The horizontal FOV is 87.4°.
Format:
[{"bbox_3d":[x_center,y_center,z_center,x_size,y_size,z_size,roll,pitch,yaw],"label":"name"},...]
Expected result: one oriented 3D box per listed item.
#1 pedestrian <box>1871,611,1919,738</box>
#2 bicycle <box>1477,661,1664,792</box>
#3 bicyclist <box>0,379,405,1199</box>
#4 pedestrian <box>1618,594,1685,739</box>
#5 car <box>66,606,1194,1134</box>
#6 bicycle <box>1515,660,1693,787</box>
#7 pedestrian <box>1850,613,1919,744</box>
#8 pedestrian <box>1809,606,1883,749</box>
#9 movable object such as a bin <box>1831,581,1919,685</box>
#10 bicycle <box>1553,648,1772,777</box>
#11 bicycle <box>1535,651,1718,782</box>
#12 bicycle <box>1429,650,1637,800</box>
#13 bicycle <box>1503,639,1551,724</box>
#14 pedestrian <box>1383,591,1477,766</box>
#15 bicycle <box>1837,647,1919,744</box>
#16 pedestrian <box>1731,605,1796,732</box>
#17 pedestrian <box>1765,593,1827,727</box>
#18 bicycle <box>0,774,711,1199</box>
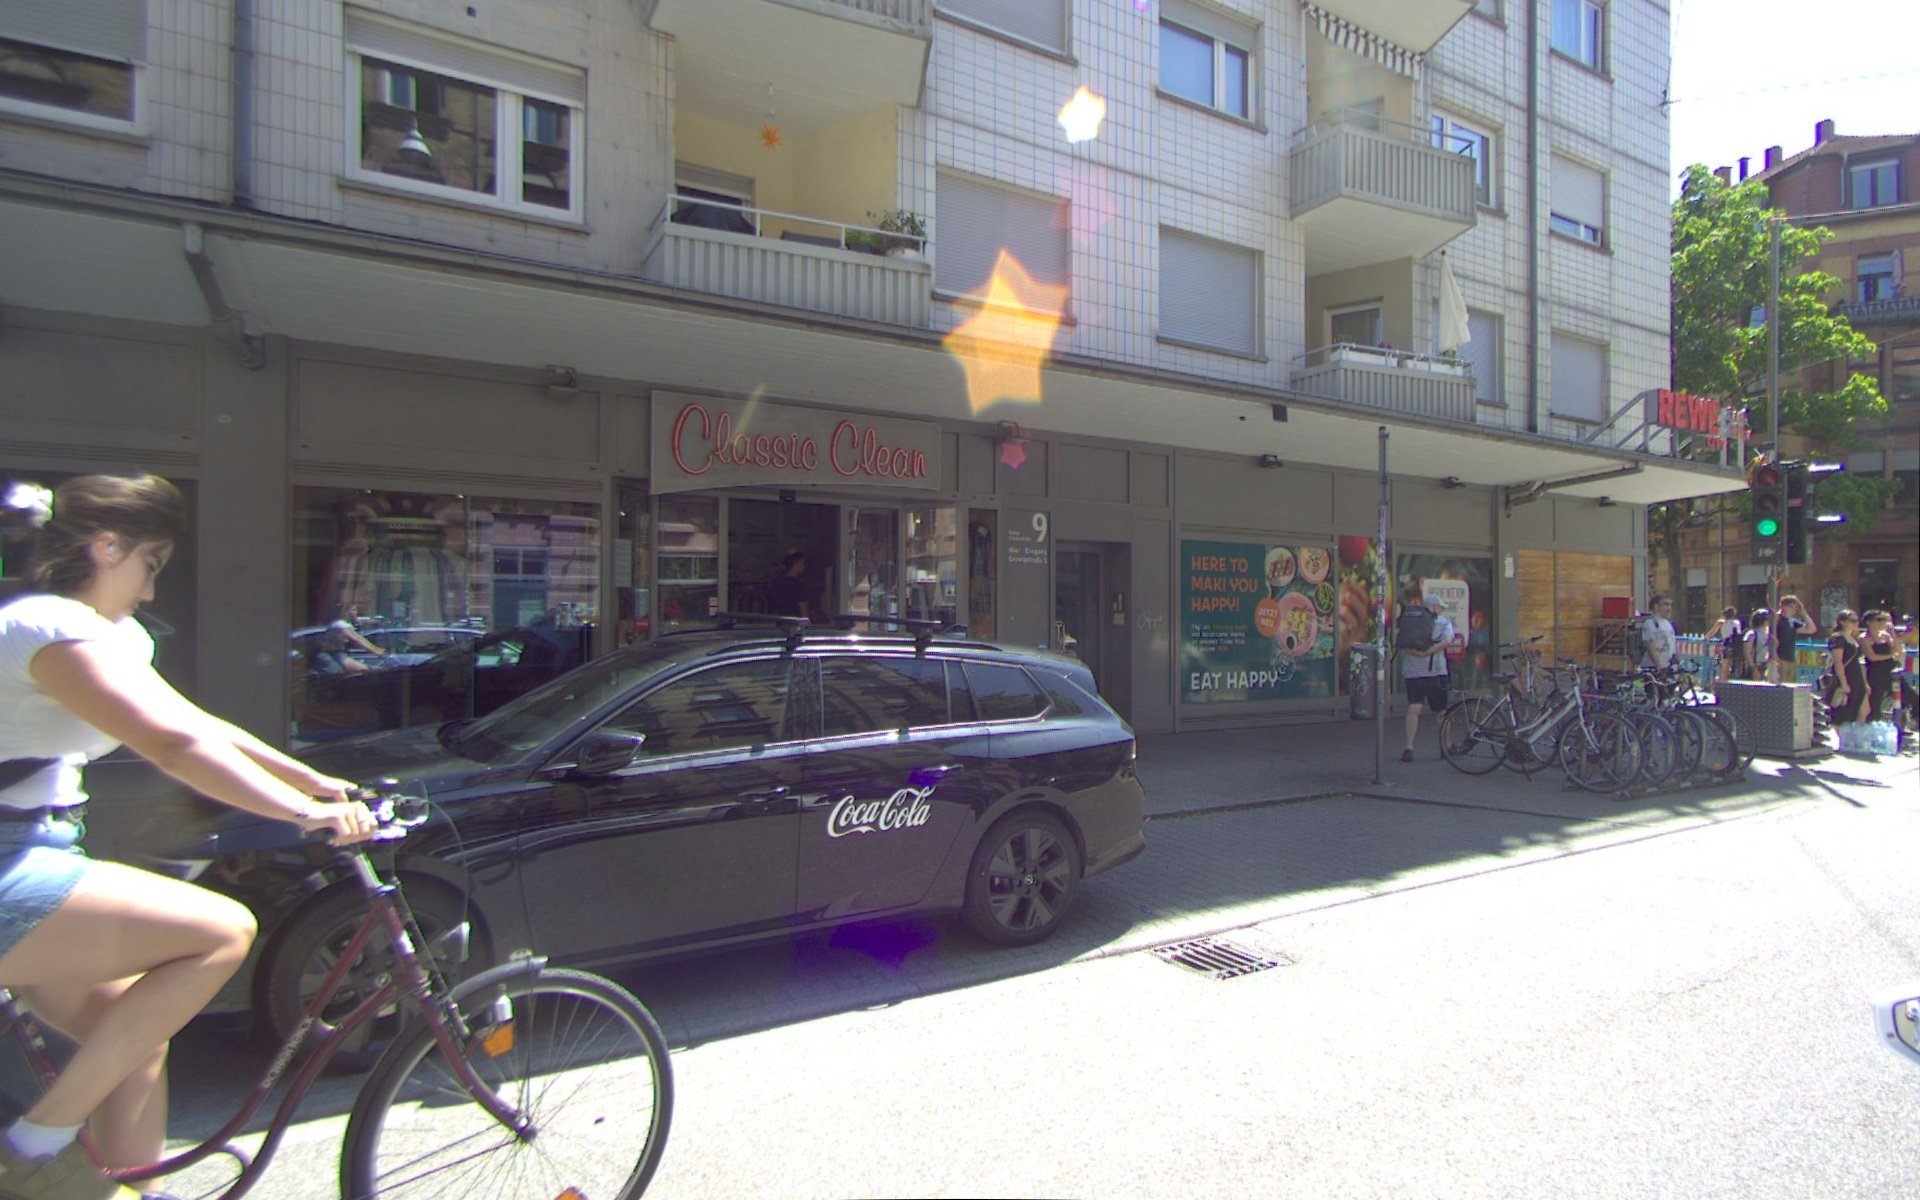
[{"bbox_3d":[12.399,0.971,13.294,0.470,1.639,0.387,1,-1,-32],"label":"pedestrian"},{"bbox_3d":[5.799,1.163,9.623,0.394,1.044,1.484,1,1,-33],"label":"bicycle"},{"bbox_3d":[-1.625,0.515,1.922,0.967,1.729,0.620,1,-1,-30],"label":"bicyclist"},{"bbox_3d":[8.837,0.834,12.837,0.593,1.794,0.506,1,-1,-32],"label":"pedestrian"},{"bbox_3d":[-1.118,0.826,4.791,4.410,1.545,1.662,1,0,-30],"label":"car"},{"bbox_3d":[6.283,1.173,9.873,0.332,1.050,1.439,1,1,-33],"label":"bicycle"},{"bbox_3d":[11.558,0.967,12.523,0.450,1.587,0.497,0,1,-3],"label":"pedestrian"},{"bbox_3d":[10.621,0.906,12.040,0.506,1.654,0.538,1,-1,-32],"label":"pedestrian"},{"bbox_3d":[25.782,0.875,25.982,1.931,2.694,4.522,1,0,-29],"label":"movable object such as a bin"},{"bbox_3d":[7.358,1.129,10.611,0.572,1.138,1.786,1,1,-35],"label":"bicycle"},{"bbox_3d":[6.701,1.132,10.176,0.332,1.132,1.510,1,1,-33],"label":"bicycle"},{"bbox_3d":[5.224,1.095,9.252,0.521,1.154,1.574,1,1,-33],"label":"bicycle"},{"bbox_3d":[8.018,1.124,14.194,0.317,1.101,1.425,0,0,41],"label":"bicycle"},{"bbox_3d":[4.895,0.795,10.476,0.650,1.749,0.627,1,-1,-30],"label":"pedestrian"},{"bbox_3d":[11.874,1.187,12.318,0.459,1.134,1.808,0,0,-8],"label":"bicycle"},{"bbox_3d":[10.833,0.907,13.547,0.593,1.654,0.506,1,-1,-32],"label":"pedestrian"},{"bbox_3d":[11.830,0.834,14.215,0.593,1.844,0.506,1,-1,-32],"label":"pedestrian"},{"bbox_3d":[-1.522,1.009,1.979,1.917,1.106,0.600,1,-1,-31],"label":"bicycle"}]
